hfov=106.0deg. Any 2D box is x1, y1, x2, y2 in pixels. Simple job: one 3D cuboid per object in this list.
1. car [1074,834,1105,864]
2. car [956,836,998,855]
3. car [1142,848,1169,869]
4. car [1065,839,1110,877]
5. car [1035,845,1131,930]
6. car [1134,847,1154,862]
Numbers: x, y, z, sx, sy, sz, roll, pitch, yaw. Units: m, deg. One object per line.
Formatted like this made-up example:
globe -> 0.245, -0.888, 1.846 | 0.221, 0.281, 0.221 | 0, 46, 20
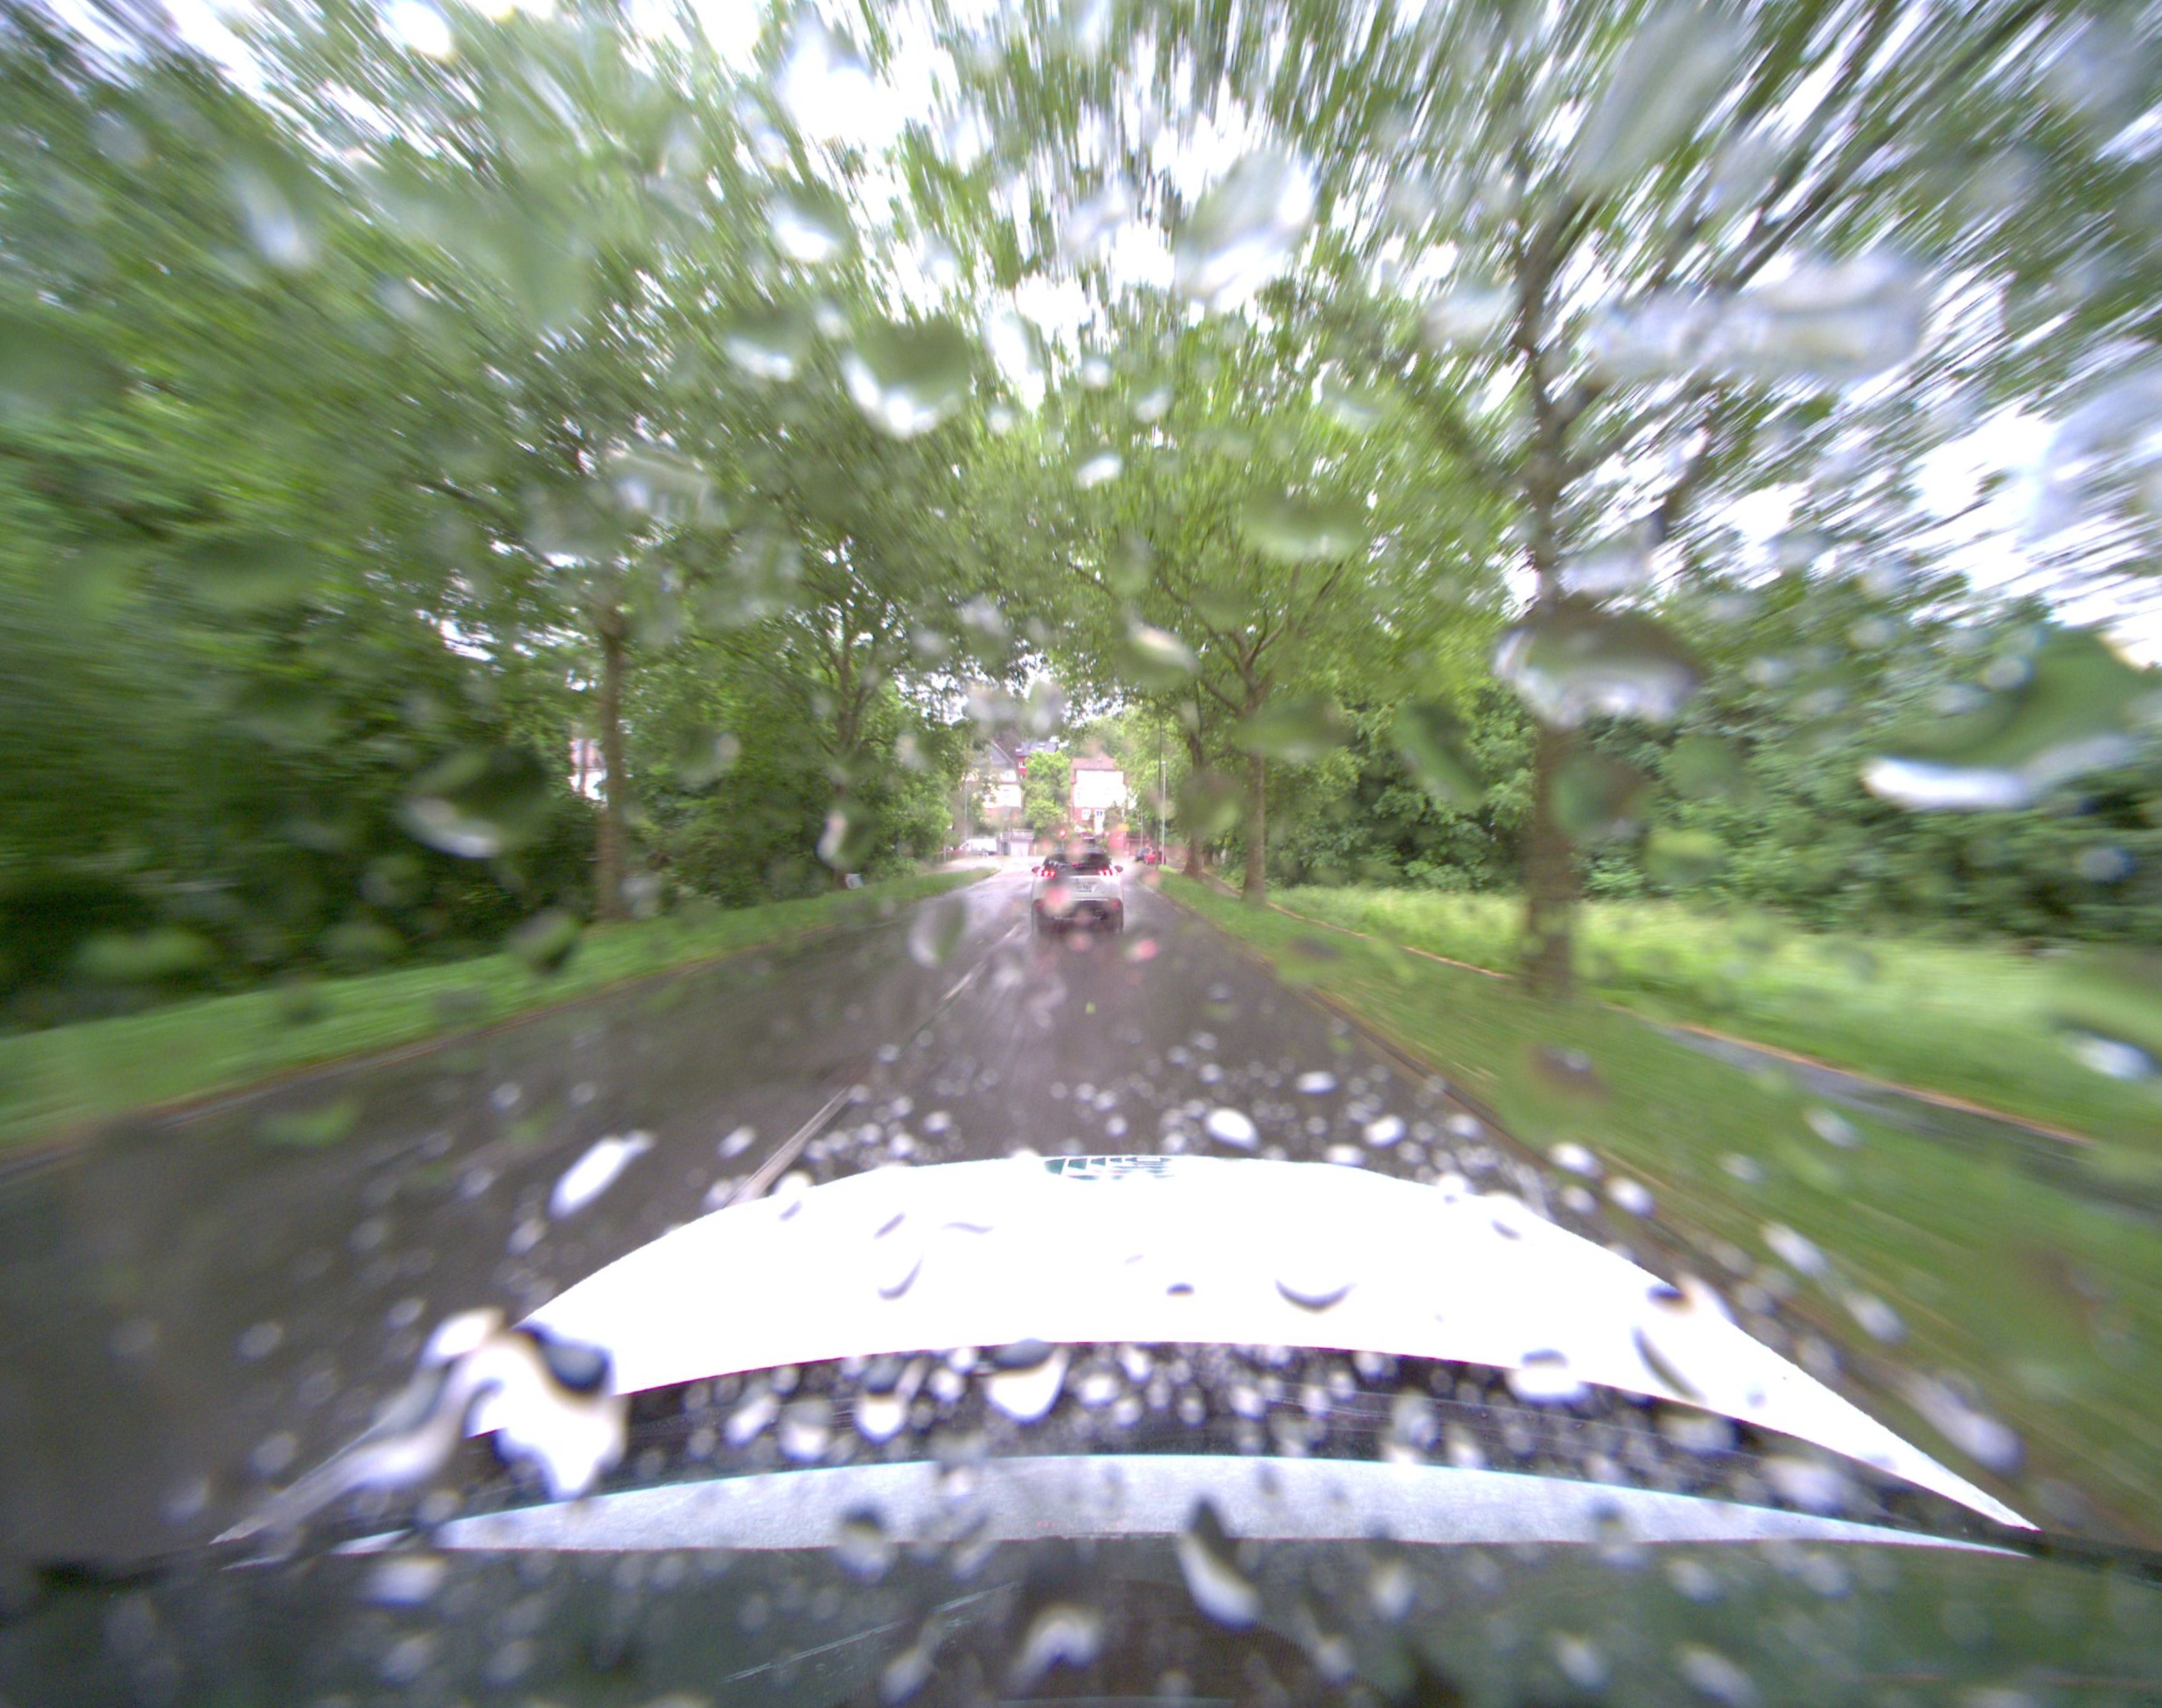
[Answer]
car -> 0.469, -0.350, 51.205 | 1.755, 1.711, 4.599 | 2, 1, -1
car -> -15.127, -1.228, 118.420 | 5.640, 2.494, 2.316 | 1, -1, 1
car -> 6.948, 0.414, 76.283 | 1.815, 1.517, 3.741 | 8, 2, -3
car -> 0.317, 0.132, 36.613 | 1.825, 1.456, 4.659 | 3, 1, 1
car -> 0.039, 0.584, 16.988 | 1.747, 1.536, 4.367 | 0, 0, 0
car -> 6.596, 0.035, 85.859 | 1.744, 1.491, 3.599 | 3, 0, 0
